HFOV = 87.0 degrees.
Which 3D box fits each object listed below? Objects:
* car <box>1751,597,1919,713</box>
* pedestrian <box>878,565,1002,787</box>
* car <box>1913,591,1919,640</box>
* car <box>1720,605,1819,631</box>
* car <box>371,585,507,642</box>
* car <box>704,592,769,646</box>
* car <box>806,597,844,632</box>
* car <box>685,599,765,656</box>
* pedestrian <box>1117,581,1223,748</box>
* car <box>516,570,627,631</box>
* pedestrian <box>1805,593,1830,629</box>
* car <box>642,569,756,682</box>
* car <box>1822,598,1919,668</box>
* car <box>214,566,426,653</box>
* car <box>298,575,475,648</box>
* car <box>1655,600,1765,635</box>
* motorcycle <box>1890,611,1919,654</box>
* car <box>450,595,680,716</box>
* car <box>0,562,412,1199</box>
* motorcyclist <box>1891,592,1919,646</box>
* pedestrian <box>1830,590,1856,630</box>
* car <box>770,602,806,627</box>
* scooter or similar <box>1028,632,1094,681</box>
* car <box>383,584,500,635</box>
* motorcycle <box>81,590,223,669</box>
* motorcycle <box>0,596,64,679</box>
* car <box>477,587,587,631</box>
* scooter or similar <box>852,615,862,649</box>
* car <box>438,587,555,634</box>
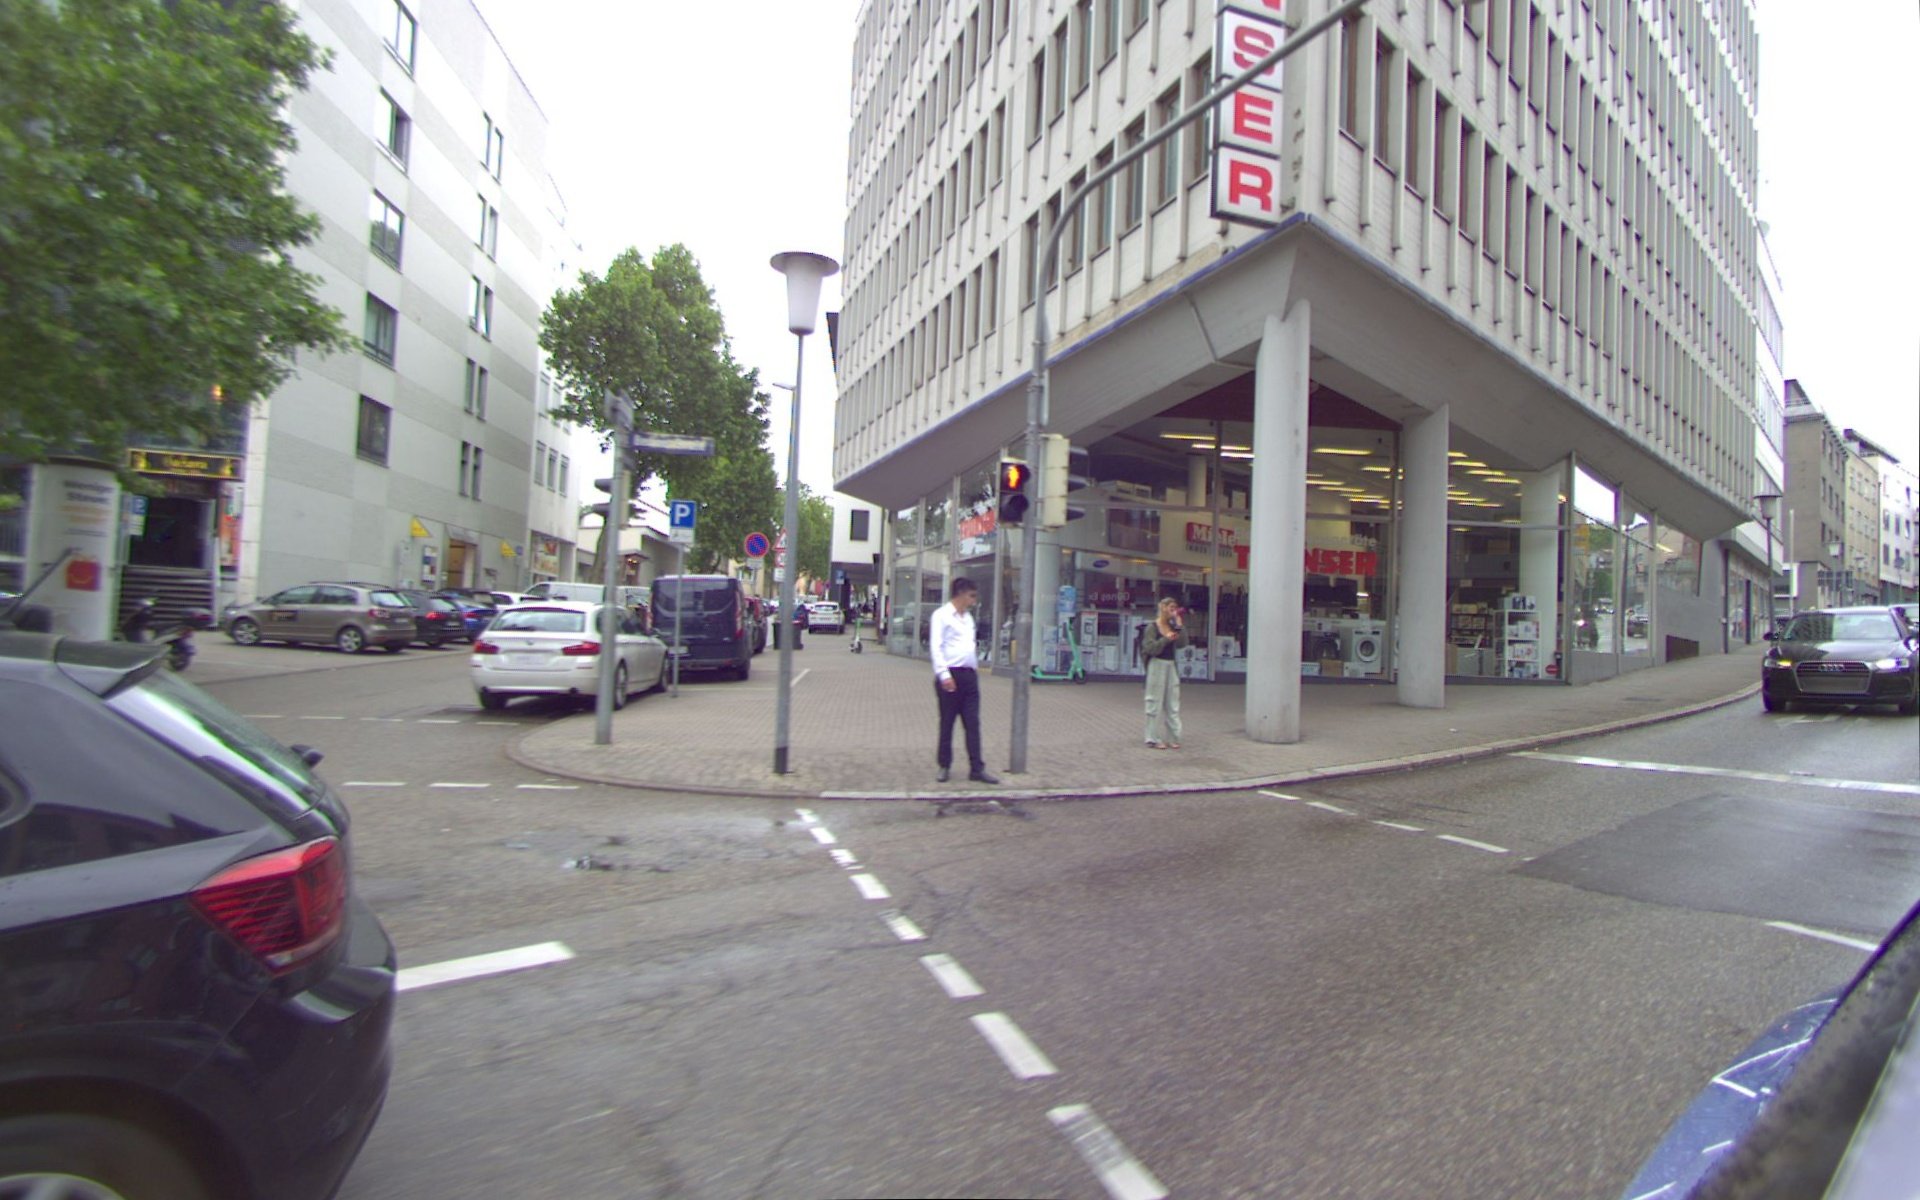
[{"bbox_3d":[14.228,0.772,15.867,4.124,1.580,1.827,-1,-2,-37],"label":"car"},{"bbox_3d":[-0.174,0.616,8.951,0.720,1.840,0.818,2,2,39],"label":"pedestrian"},{"bbox_3d":[39.730,0.613,40.744,1.842,1.928,3.708,0,-1,41],"label":"car"},{"bbox_3d":[50.726,1.129,63.490,1.965,1.524,4.528,1,-2,-41],"label":"car"},{"bbox_3d":[-15.205,0.348,29.529,3.648,1.573,1.615,0,0,24],"label":"car"},{"bbox_3d":[-7.905,0.628,36.135,1.849,1.786,4.005,0,0,-6],"label":"car"},{"bbox_3d":[-7.220,0.729,54.386,1.960,1.803,4.005,0,0,-6],"label":"car"},{"bbox_3d":[-6.712,0.741,29.256,1.805,1.513,4.140,0,0,-6],"label":"car"},{"bbox_3d":[2.257,0.660,10.899,0.812,1.710,0.725,0,1,-23],"label":"pedestrian"},{"bbox_3d":[-15.711,0.005,41.056,3.786,2.430,1.898,0,0,10],"label":"car"},{"bbox_3d":[38.216,0.473,45.101,0.765,1.570,0.877,3,2,42],"label":"pedestrian"},{"bbox_3d":[-5.228,0.445,20.800,1.920,2.023,4.814,0,0,-10],"label":"car"},{"bbox_3d":[22.546,0.793,24.945,1.824,1.561,4.188,-5,-3,41],"label":"car"},{"bbox_3d":[-14.855,0.225,23.616,3.864,1.656,1.627,4,-1,2],"label":"car"},{"bbox_3d":[-14.906,0.278,26.392,3.781,1.572,1.623,4,1,9],"label":"car"},{"bbox_3d":[35.523,0.805,48.041,3.965,1.549,1.745,0,-1,30],"label":"car"},{"bbox_3d":[28.904,0.965,30.669,0.843,1.242,2.339,-4,-3,39],"label":"motorcycle"},{"bbox_3d":[-5.615,0.700,15.119,1.820,1.513,4.855,0,0,-4],"label":"car"},{"bbox_3d":[-3.138,0.670,1.418,3.927,1.496,1.692,1,-1,-39],"label":"car"},{"bbox_3d":[28.892,0.573,30.689,0.843,1.610,0.949,-4,-3,40],"label":"motorcyclist"},{"bbox_3d":[39.522,0.446,45.308,0.783,1.726,1.104,4,2,42],"label":"pedestrian"},{"bbox_3d":[-10.671,0.885,63.052,1.960,1.513,4.005,0,0,-6],"label":"car"},{"bbox_3d":[1.765,0.983,17.759,1.104,0.835,0.308,1,-1,-2],"label":"scooter or similar"},{"bbox_3d":[-17.093,0.283,33.330,3.653,1.573,1.613,0,0,27],"label":"car"},{"bbox_3d":[-13.632,0.484,17.081,2.059,1.130,0.627,5,0,11],"label":"motorcycle"},{"bbox_3d":[-14.317,0.497,14.724,1.905,1.131,0.629,4,-1,0],"label":"motorcycle"},{"bbox_3d":[-16.176,0.336,38.290,3.641,1.574,1.617,0,-2,19],"label":"car"},{"bbox_3d":[-3.179,0.973,31.263,0.215,1.012,0.816,1,0,-11],"label":"scooter or similar"},{"bbox_3d":[-16.192,0.330,35.389,3.641,1.573,1.618,0,0,19],"label":"car"}]
